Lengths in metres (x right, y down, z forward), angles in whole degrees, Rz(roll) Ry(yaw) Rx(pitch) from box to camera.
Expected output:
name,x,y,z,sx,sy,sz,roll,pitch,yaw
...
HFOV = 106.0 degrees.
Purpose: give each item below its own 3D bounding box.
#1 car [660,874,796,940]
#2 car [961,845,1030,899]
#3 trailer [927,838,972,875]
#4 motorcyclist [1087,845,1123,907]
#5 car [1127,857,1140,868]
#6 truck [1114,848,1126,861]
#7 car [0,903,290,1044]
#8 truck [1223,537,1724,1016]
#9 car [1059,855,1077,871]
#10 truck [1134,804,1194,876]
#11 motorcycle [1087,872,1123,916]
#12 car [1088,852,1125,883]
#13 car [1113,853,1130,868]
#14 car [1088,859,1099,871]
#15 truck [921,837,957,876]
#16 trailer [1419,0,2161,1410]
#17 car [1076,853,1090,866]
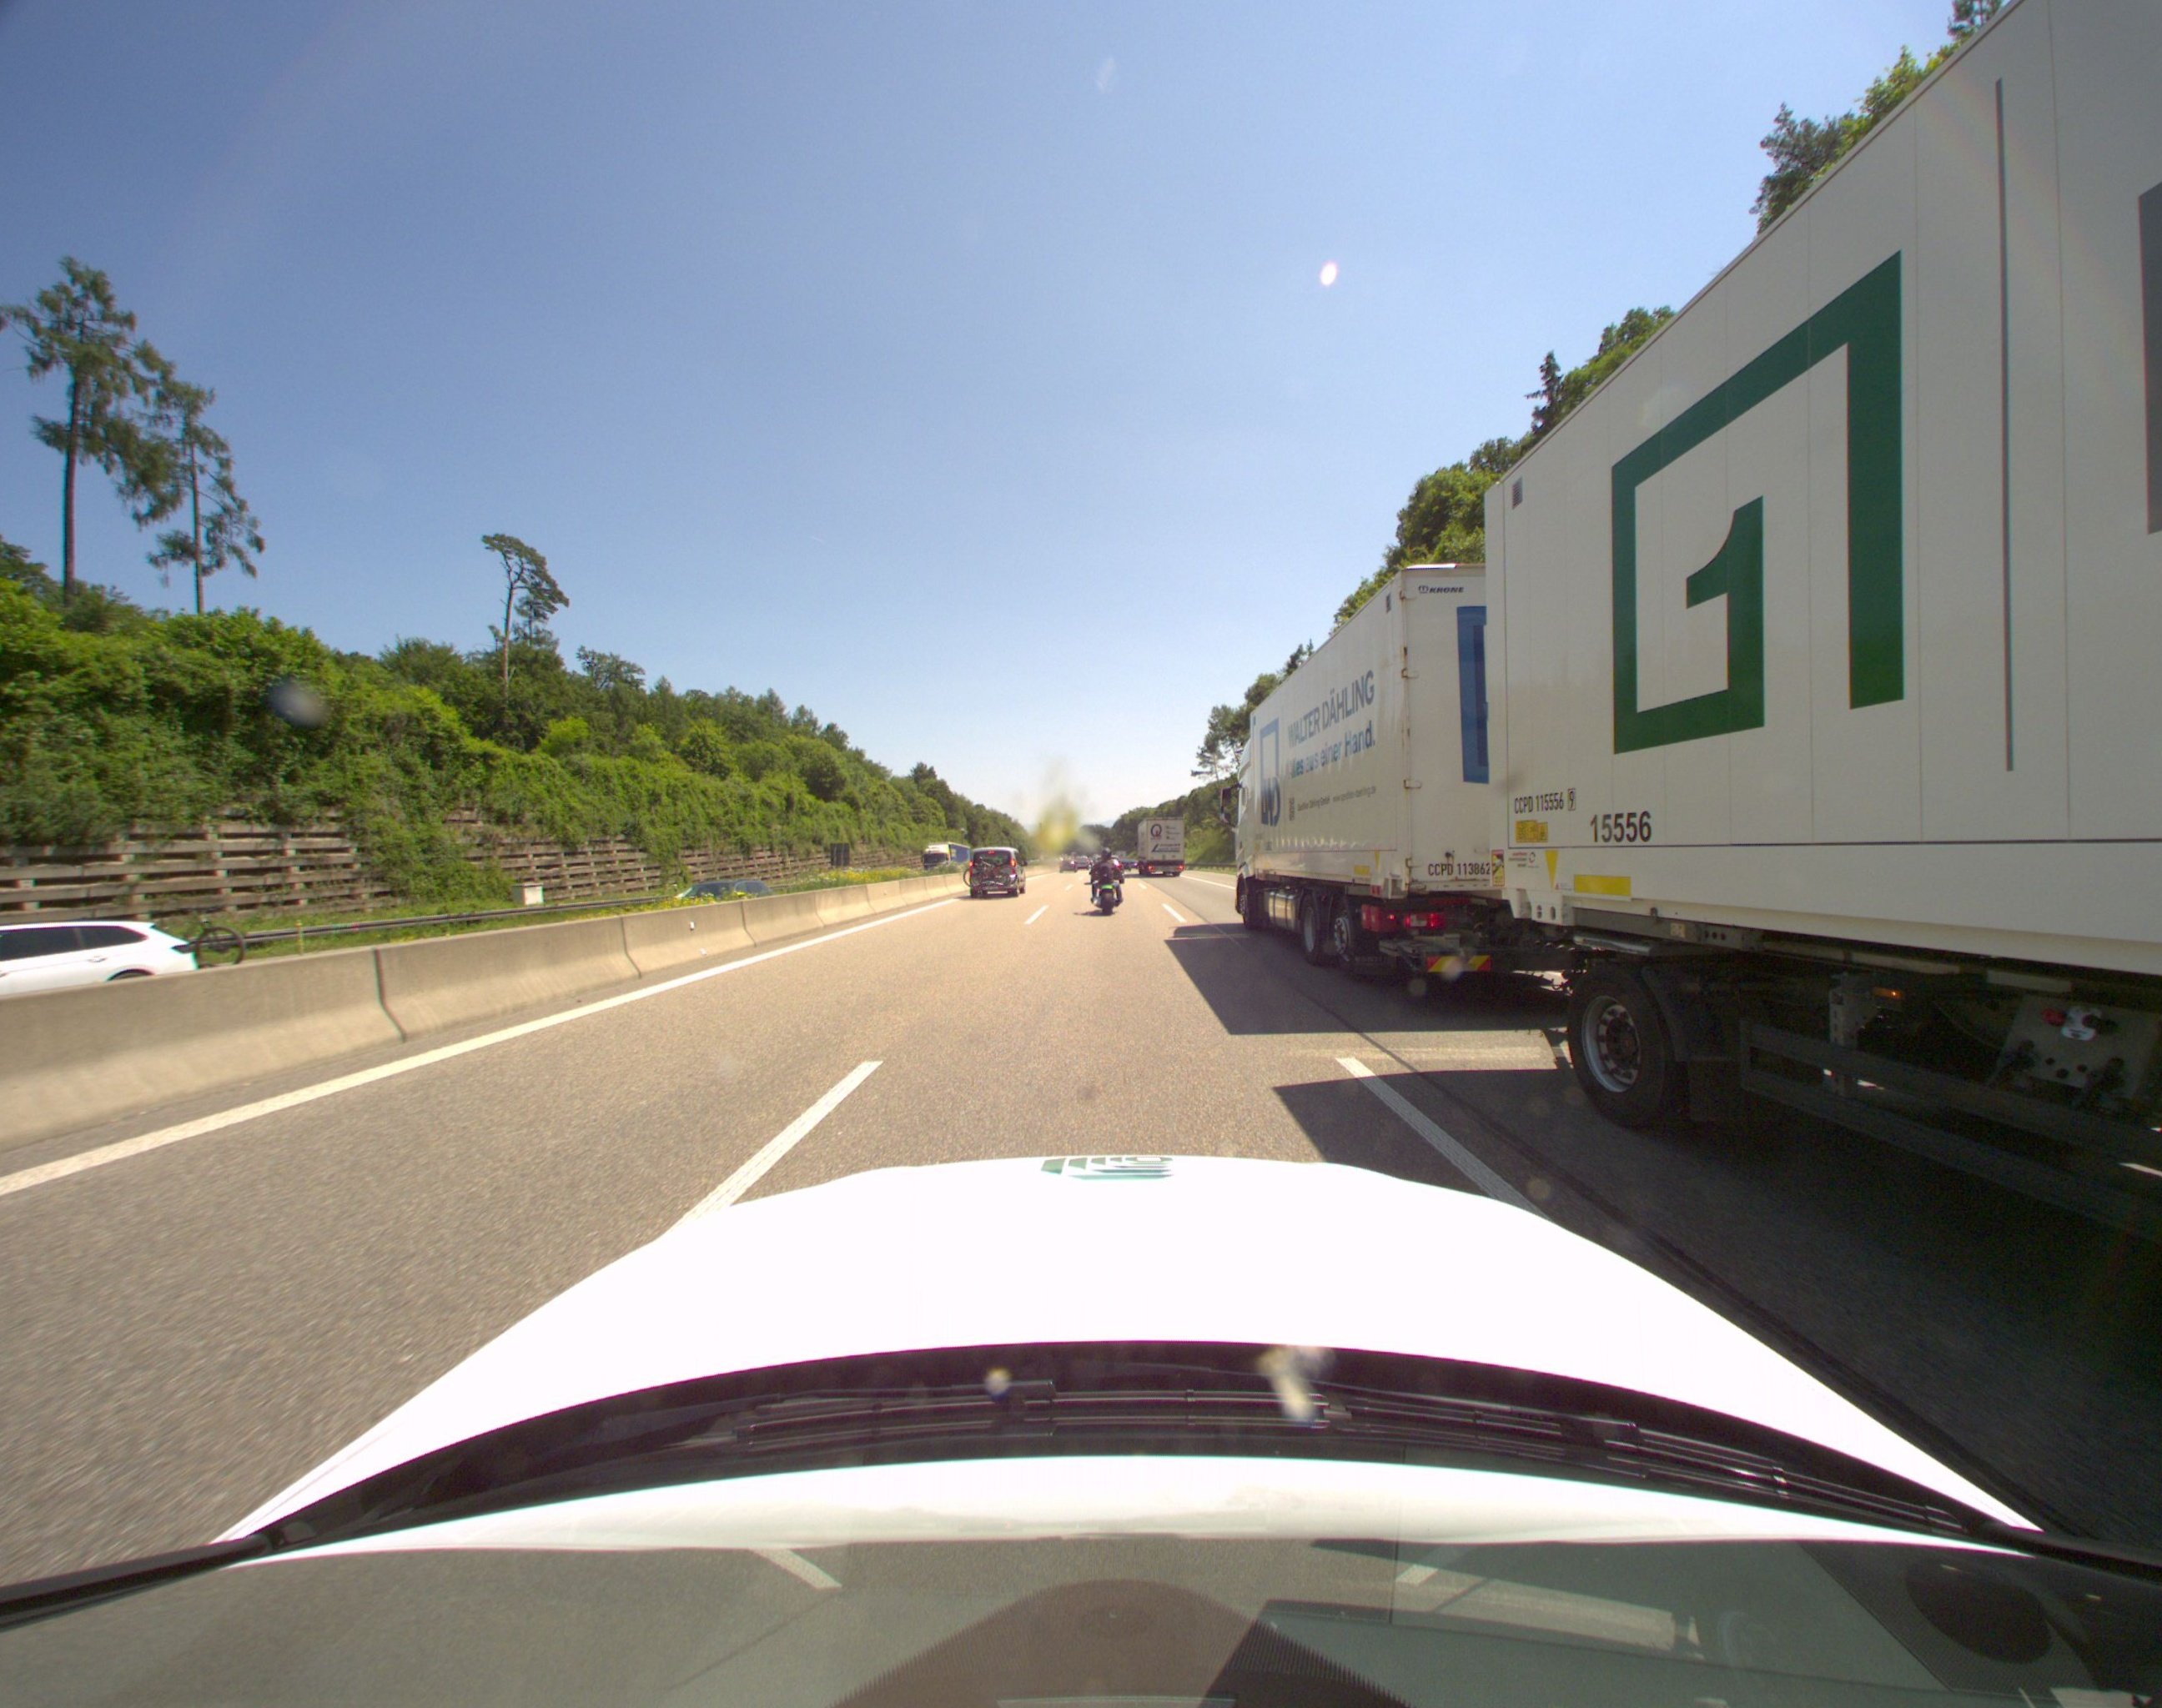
name,x,y,z,sx,sy,sz,roll,pitch,yaw
car,-10.310,1.485,24.184,1.891,1.526,4.375,-3,1,2
car,-3.120,0.624,30.878,1.891,1.848,5.484,-1,0,1
trailer,-15.426,0.209,96.813,2.670,4.015,14.192,-2,0,1
motorcyclist,0.609,0.553,20.629,0.852,1.515,0.914,-1,0,2
car,7.651,1.174,118.908,1.824,1.526,4.028,-1,1,1
truck,10.246,0.053,214.185,3.056,3.346,9.656,0,0,2
car,-14.452,1.652,10.846,1.954,1.495,5.887,-3,1,1
truck,4.278,-0.692,12.278,2.670,4.059,10.629,-1,0,2
car,-1.333,0.931,87.897,1.751,1.543,4.396,-1,1,1
truck,6.070,-0.991,62.892,3.371,4.718,17.716,0,0,2
motorcycle,0.627,0.988,20.677,0.859,0.982,2.132,-1,0,3
car,1.352,0.678,43.458,1.839,1.557,4.441,-1,1,1
car,4.680,0.729,94.231,1.824,1.558,4.121,-1,1,1
car,2.041,1.769,135.657,1.824,1.810,4.121,-1,1,1
truck,-15.612,0.240,89.851,2.670,4.030,5.933,-2,0,1
trailer,4.041,-0.693,1.735,2.670,4.175,10.068,-1,0,1
car,0.341,0.762,115.082,1.824,1.810,4.121,-1,1,1
